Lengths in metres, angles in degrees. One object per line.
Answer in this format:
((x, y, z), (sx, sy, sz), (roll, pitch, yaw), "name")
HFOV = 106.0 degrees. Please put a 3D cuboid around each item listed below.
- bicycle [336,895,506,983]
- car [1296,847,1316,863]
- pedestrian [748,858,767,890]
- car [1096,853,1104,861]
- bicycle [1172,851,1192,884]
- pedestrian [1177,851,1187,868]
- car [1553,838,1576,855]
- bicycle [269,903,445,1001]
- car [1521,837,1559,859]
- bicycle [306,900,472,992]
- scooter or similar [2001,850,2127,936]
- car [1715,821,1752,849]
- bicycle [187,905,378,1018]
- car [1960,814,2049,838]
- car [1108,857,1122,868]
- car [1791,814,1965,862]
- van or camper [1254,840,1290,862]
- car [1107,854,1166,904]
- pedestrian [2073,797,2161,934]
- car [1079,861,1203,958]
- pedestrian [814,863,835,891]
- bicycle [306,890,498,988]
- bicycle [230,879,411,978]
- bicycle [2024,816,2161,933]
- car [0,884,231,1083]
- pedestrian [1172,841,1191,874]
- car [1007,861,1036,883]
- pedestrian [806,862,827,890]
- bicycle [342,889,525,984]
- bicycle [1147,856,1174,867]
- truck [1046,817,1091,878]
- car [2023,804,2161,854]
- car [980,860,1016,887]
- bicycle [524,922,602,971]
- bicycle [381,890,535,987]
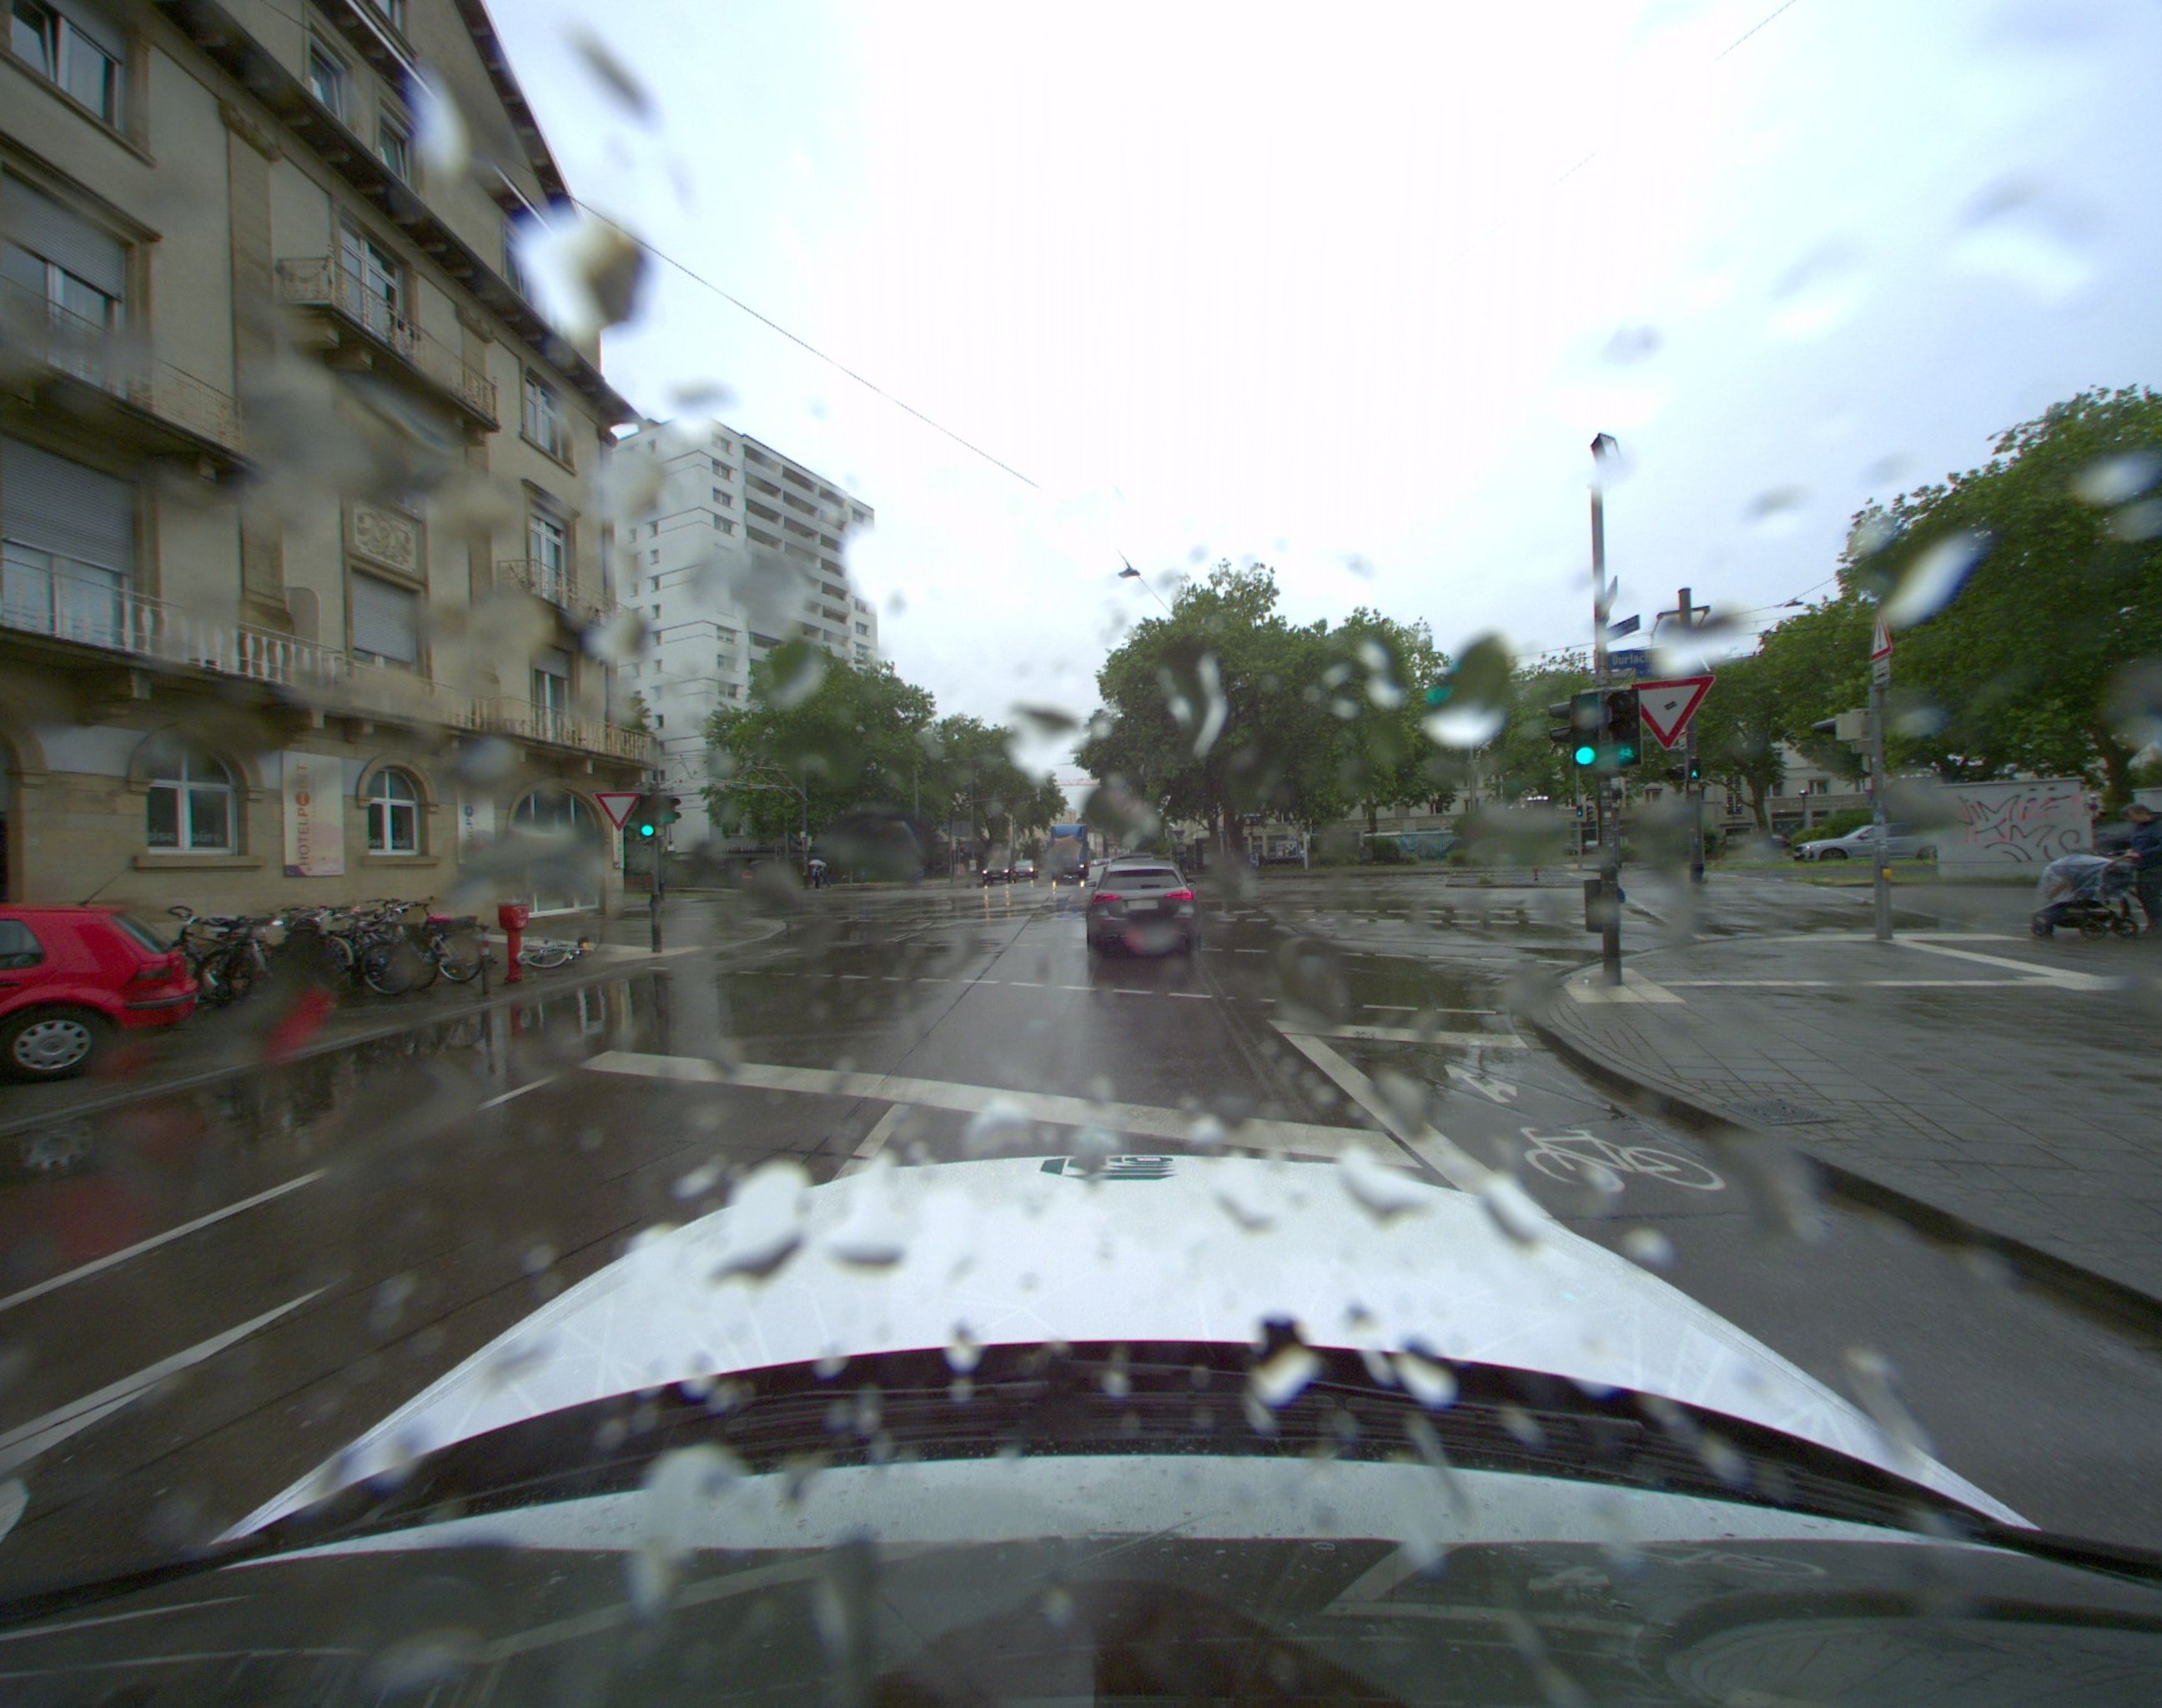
((-9.440, 1.208, 11.686), (1.974, 1.185, 0.474), (1, -1, -2), "bicycle")
((23.930, 0.086, 86.561), (1.665, 1.575, 3.755), (-3, -1, 22), "car")
((-19.692, 1.215, 49.573), (0.671, 1.838, 0.644), (-4, -1, 24), "pedestrian")
((4.852, 0.721, 206.995), (1.880, 1.836, 4.006), (-3, -1, 5), "car")
((4.483, 0.575, 35.878), (0.745, 1.377, 2.713), (-3, 0, 8), "bicycle")
((9.989, 0.562, 80.509), (0.668, 1.669, 0.710), (-1, -1, -38), "pedestrian")
((46.125, -0.665, 77.743), (1.535, 1.467, 3.386), (-3, -3, 26), "car")
((-9.427, 1.263, 10.634), (1.804, 1.185, 0.475), (1, -1, -1), "bicycle")
((34.248, -0.467, 60.857), (1.650, 1.521, 3.695), (-3, -1, 16), "car")
((-9.455, 1.250, 11.157), (1.805, 1.185, 0.468), (1, -1, -1), "bicycle")
((12.821, 0.486, 10.652), (0.511, 1.048, 0.925), (-3, 0, 4), "scooter or similar")
((57.060, -1.591, 71.241), (1.535, 2.204, 4.122), (-3, -3, 26), "car")
((-9.540, 1.259, 9.755), (1.800, 1.184, 0.601), (2, 0, 6), "bicycle")
((68.433, -2.063, 60.432), (3.950, 1.452, 1.687), (-3, -1, 26), "car")
((5.458, 1.367, 131.288), (1.987, 1.574, 4.000), (-2, -1, 0), "car")
((31.051, -0.605, 31.926), (4.499, 1.599, 1.802), (-3, 0, 24), "car")
((20.883, -0.376, 88.739), (2.373, 2.231, 5.463), (-3, -1, 29), "van or camper")
((1.686, 0.722, 25.696), (1.601, 1.372, 4.001), (-3, 0, 1), "car")
((13.307, 0.130, 10.304), (0.600, 1.663, 0.690), (-3, 0, 4), "pedestrian")
((0.925, 0.834, 13.720), (1.785, 1.372, 3.507), (-1, 0, 1), "car")
((-15.341, 1.375, 48.646), (0.828, 1.648, 0.759), (-3, -1, 16), "pedestrian")
((-10.594, 1.310, 12.761), (2.335, 1.346, 0.639), (-3, 0, -4), "bicycle")
((-11.485, 1.107, 12.346), (2.053, 1.346, 0.584), (-3, 0, -4), "bicycle")
((13.716, 0.252, 10.559), (0.531, 1.466, 1.934), (-2, 0, -8), "bicycle")
((-9.798, 1.063, 6.533), (4.022, 1.508, 1.781), (0, 0, -44), "car")
((4.462, 0.155, 35.959), (0.740, 1.398, 1.049), (-3, -1, 8), "pedestrian")
((-4.474, 1.333, 61.818), (1.720, 1.546, 4.340), (-3, 0, 1), "car")
((-16.364, 1.372, 50.387), (0.785, 1.648, 0.820), (-3, -1, 17), "pedestrian")
((-10.627, 1.332, 13.425), (2.336, 1.346, 0.639), (-3, 0, -4), "bicycle")
((10.261, 0.967, 104.795), (3.214, 1.112, 1.048), (-2, -4, -18), "bicycle")
((-0.761, -0.414, 60.941), (2.836, 4.025, 10.317), (-3, 0, 1), "truck")
((37.191, -0.915, 29.145), (4.127, 1.599, 1.789), (-3, 0, 24), "car")
((-5.125, 1.187, 50.581), (1.737, 1.546, 3.779), (-3, 0, 1), "car")
((-8.821, 1.559, 13.940), (1.045, 0.663, 1.464), (0, -2, -30), "bicycle")
((-9.347, 1.254, 12.232), (1.968, 1.330, 0.438), (-3, 0, 3), "bicycle")
